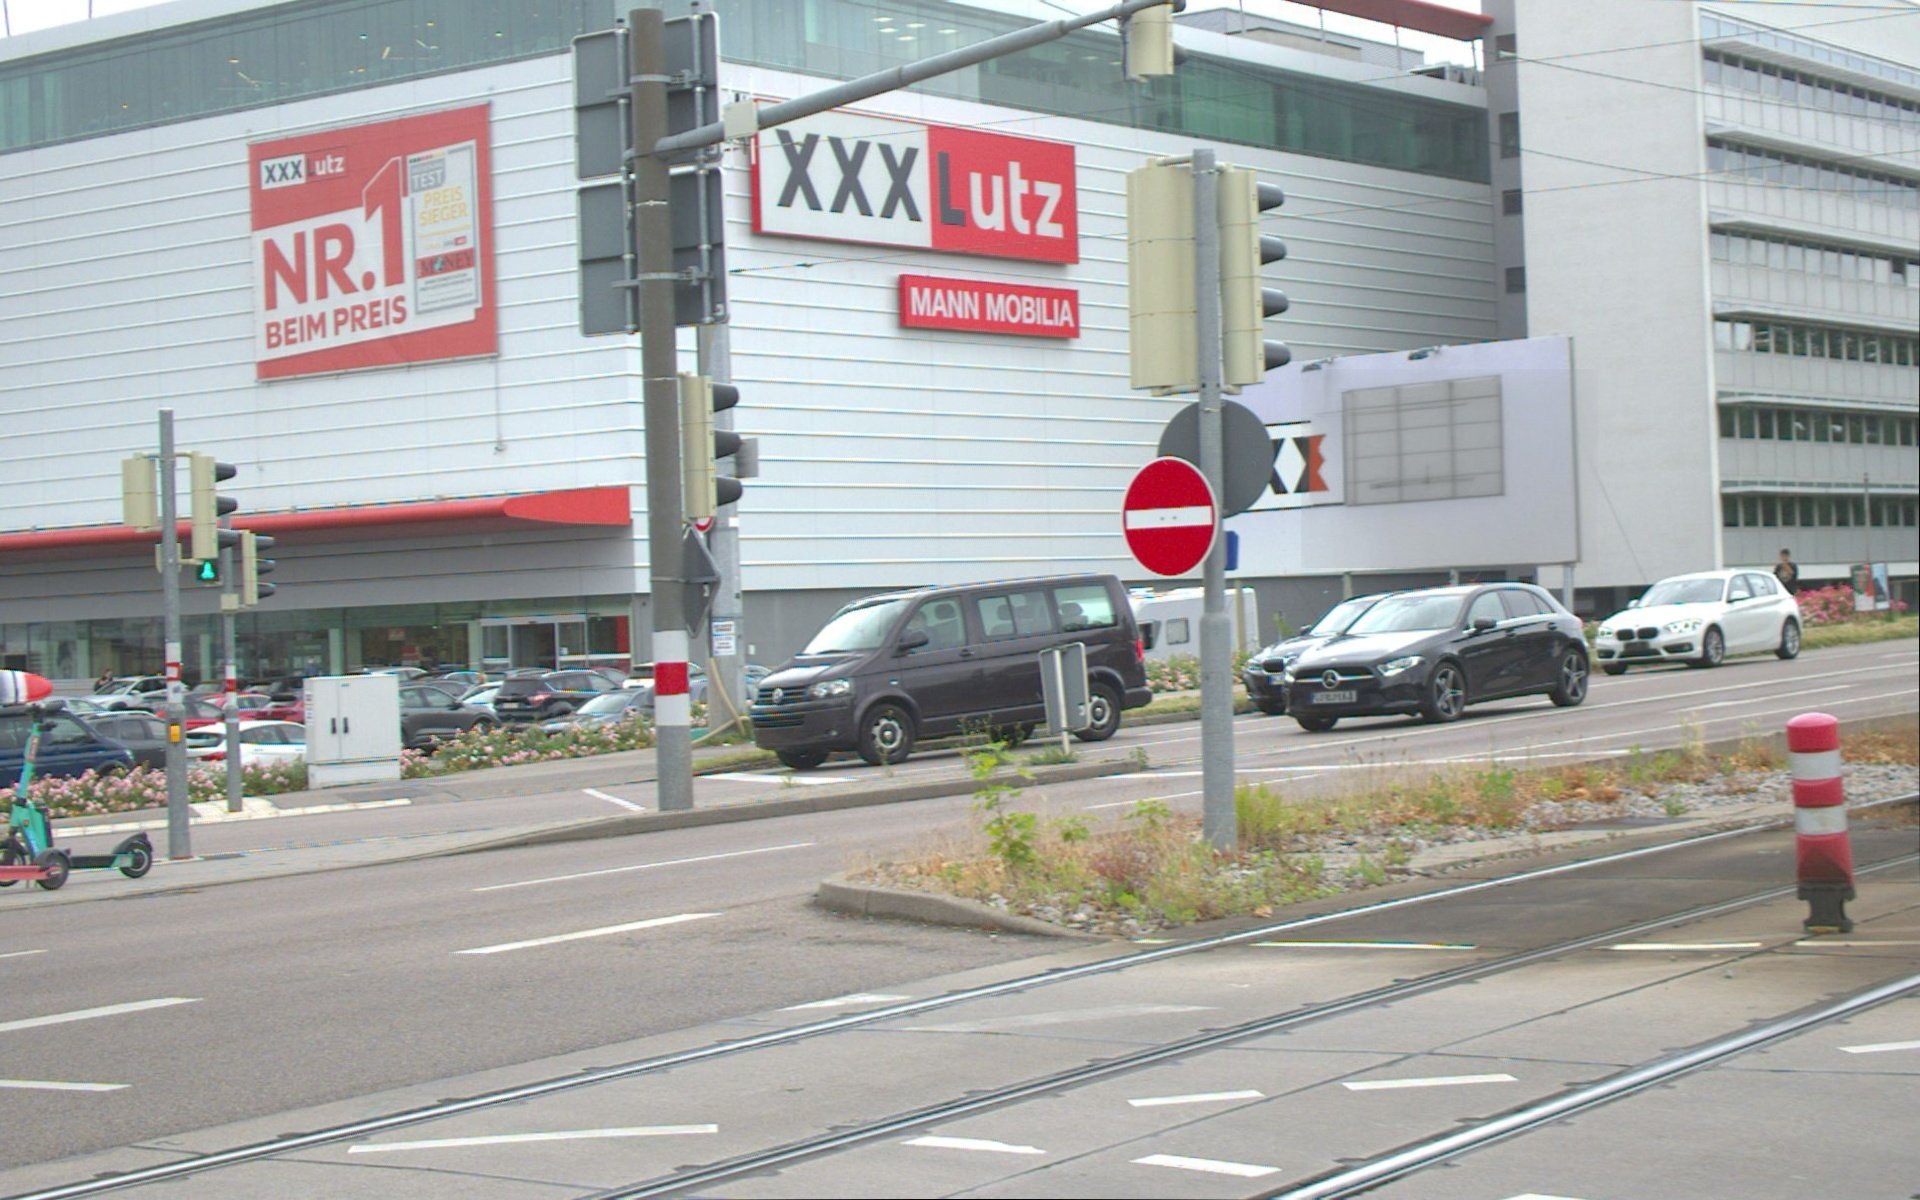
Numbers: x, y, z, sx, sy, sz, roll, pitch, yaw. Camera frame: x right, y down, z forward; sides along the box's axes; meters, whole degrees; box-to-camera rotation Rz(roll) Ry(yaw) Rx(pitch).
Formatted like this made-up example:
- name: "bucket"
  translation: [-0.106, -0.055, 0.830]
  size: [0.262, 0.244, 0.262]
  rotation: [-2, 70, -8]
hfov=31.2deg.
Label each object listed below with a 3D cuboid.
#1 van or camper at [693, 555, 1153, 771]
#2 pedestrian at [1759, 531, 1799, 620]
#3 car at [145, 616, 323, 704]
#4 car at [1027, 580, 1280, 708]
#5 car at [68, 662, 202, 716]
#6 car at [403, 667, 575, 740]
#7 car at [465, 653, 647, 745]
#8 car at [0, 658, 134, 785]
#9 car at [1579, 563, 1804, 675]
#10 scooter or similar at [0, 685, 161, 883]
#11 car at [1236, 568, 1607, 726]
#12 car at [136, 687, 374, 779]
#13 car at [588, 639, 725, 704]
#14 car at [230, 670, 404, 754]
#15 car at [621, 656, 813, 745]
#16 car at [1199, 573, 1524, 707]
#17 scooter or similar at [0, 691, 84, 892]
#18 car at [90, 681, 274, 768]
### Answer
- name: "van or camper"
  translation: [-0.390, 0.703, 39.325]
  size: [4.739, 2.007, 2.123]
  rotation: [-4, -1, -36]
- name: "pedestrian"
  translation: [16.571, -0.494, 69.526]
  size: [0.696, 1.784, 0.642]
  rotation: [-1, 0, 20]
- name: "car"
  translation: [-18.510, 1.517, 87.742]
  size: [1.998, 2.007, 3.991]
  rotation: [-3, 0, 39]
- name: "car"
  translation: [4.883, 1.052, 85.474]
  size: [2.766, 2.979, 6.935]
  rotation: [-1, 0, 38]
- name: "car"
  translation: [-26.066, 2.793, 108.731]
  size: [1.828, 1.549, 3.797]
  rotation: [-1, 0, 37]
- name: "car"
  translation: [-11.523, 2.520, 84.303]
  size: [1.776, 1.526, 3.991]
  rotation: [-3, 0, 39]
- name: "car"
  translation: [-9.642, 2.359, 82.284]
  size: [1.948, 1.922, 3.991]
  rotation: [-4, -1, 40]
- name: "car"
  translation: [-17.959, 2.304, 63.079]
  size: [2.120, 2.158, 5.040]
  rotation: [-4, -1, 42]
- name: "car"
  translation: [10.991, 0.265, 51.481]
  size: [1.731, 1.533, 4.037]
  rotation: [-1, 1, 37]
- name: "scooter or similar"
  translation: [-6.097, 1.253, 23.525]
  size: [1.112, 1.251, 0.320]
  rotation: [-4, -2, -39]
- name: "car"
  translation: [5.041, 0.486, 37.168]
  size: [1.835, 1.459, 4.197]
  rotation: [-4, -1, 42]
- name: "car"
  translation: [-13.309, 2.501, 65.053]
  size: [1.743, 1.471, 4.202]
  rotation: [-4, -1, 39]
- name: "car"
  translation: [-8.344, 1.953, 94.681]
  size: [1.649, 1.554, 3.608]
  rotation: [-2, 1, 39]
- name: "car"
  translation: [-16.185, 2.815, 86.673]
  size: [1.819, 1.812, 3.991]
  rotation: [-4, -1, 40]
- name: "car"
  translation: [-5.056, 2.097, 72.008]
  size: [1.883, 1.660, 3.992]
  rotation: [-3, -1, 34]
- name: "car"
  translation: [5.233, 0.503, 44.440]
  size: [1.967, 1.459, 4.311]
  rotation: [-3, 0, 42]
- name: "scooter or similar"
  translation: [-6.293, 1.258, 22.266]
  size: [1.015, 1.251, 0.464]
  rotation: [-4, -2, -39]
- name: "car"
  translation: [-18.678, 2.972, 82.658]
  size: [1.831, 1.855, 3.991]
  rotation: [-4, -1, 38]
